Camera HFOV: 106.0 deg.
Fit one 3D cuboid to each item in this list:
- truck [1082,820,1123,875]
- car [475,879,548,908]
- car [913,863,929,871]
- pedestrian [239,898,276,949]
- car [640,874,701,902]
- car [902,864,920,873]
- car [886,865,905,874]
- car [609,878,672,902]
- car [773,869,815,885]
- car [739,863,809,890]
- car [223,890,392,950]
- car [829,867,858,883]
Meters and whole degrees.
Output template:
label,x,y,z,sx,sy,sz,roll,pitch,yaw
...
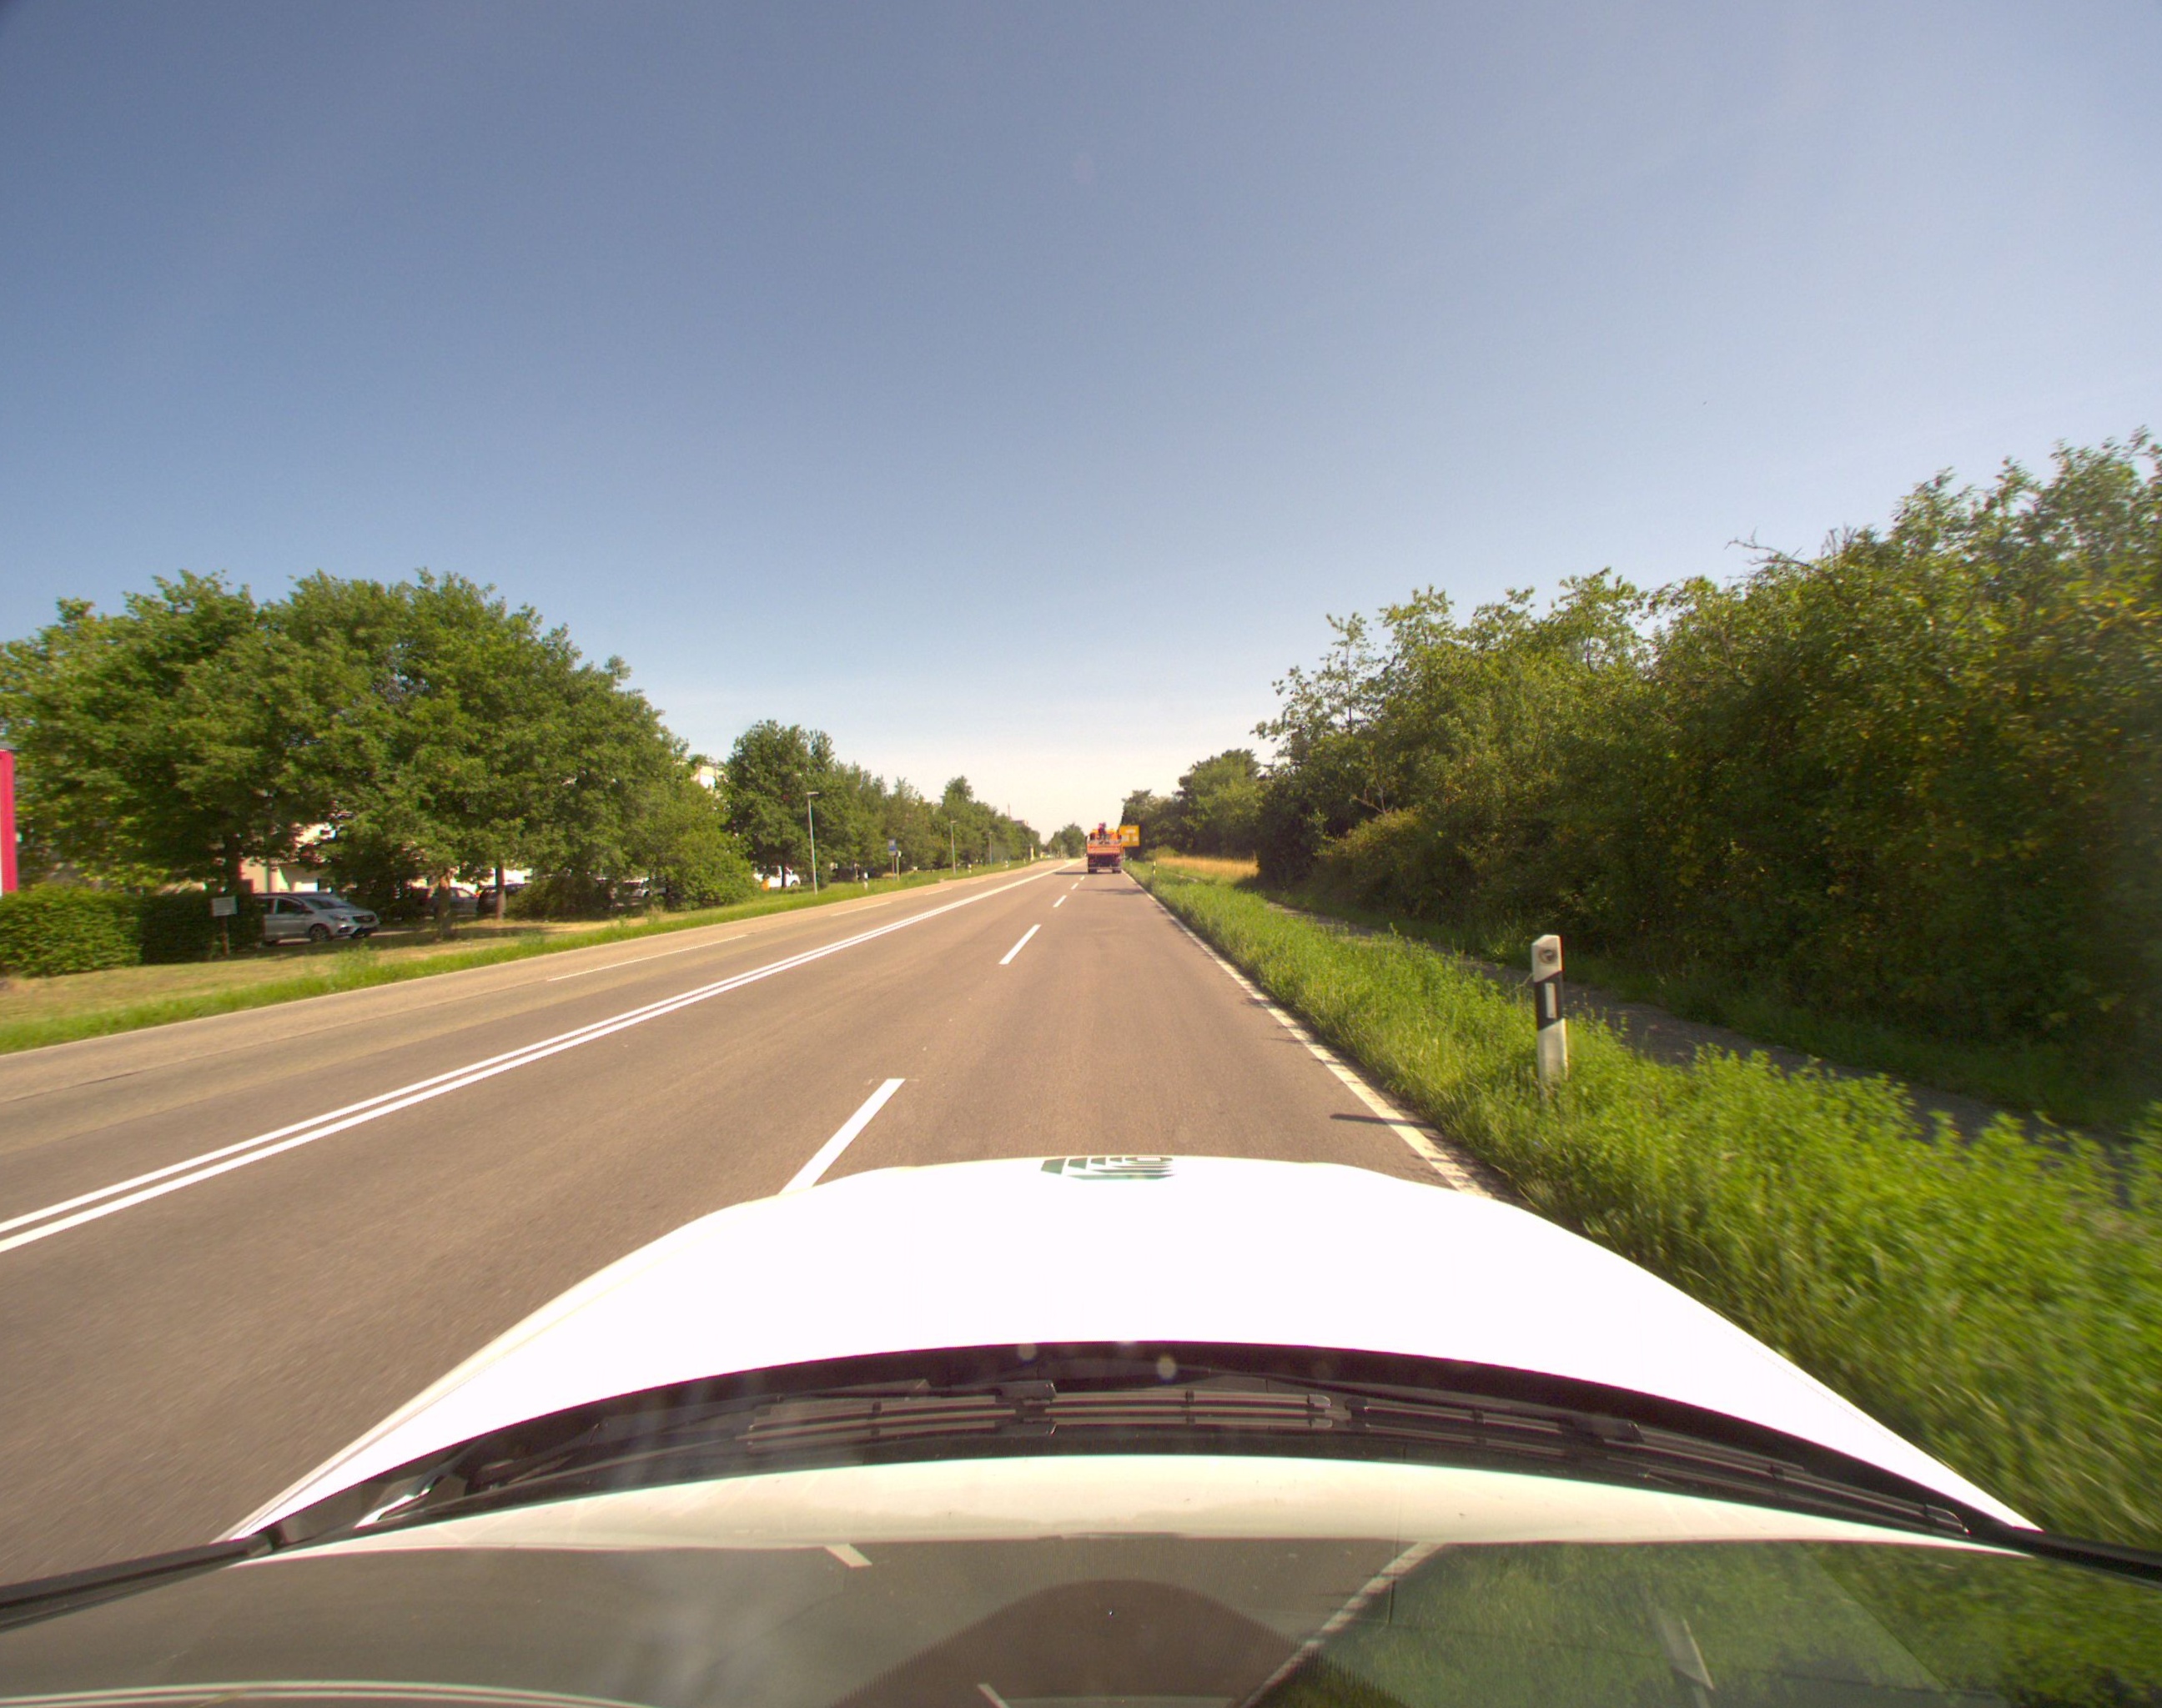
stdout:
label,x,y,z,sx,sy,sz,roll,pitch,yaw
truck,1.544,-0.458,61.938,2.863,3.880,7.397,0,0,-1
car,-38.288,2.629,54.837,1.849,1.658,4.170,-2,0,1
car,-30.795,2.540,157.080,1.986,1.437,4.611,-2,0,1
pedestrian,-29.009,2.423,28.684,0.629,1.713,0.824,-3,0,40
car,-27.946,2.290,55.593,1.922,1.651,4.191,-2,0,0
car,-30.671,2.567,147.111,1.985,1.437,4.958,-2,0,3
car,-33.280,2.693,146.551,1.985,1.437,4.958,-2,0,3
car,-30.141,2.470,55.887,1.922,1.394,4.191,-2,0,0
car,-33.515,2.657,95.197,4.122,1.585,1.742,-3,0,0
car,-24.898,1.787,66.277,2.047,1.929,5.048,-2,0,32
car,-28.577,2.404,30.195,4.208,1.730,2.000,-4,0,1
car,-25.826,2.263,88.700,1.737,1.578,4.550,-3,0,1
